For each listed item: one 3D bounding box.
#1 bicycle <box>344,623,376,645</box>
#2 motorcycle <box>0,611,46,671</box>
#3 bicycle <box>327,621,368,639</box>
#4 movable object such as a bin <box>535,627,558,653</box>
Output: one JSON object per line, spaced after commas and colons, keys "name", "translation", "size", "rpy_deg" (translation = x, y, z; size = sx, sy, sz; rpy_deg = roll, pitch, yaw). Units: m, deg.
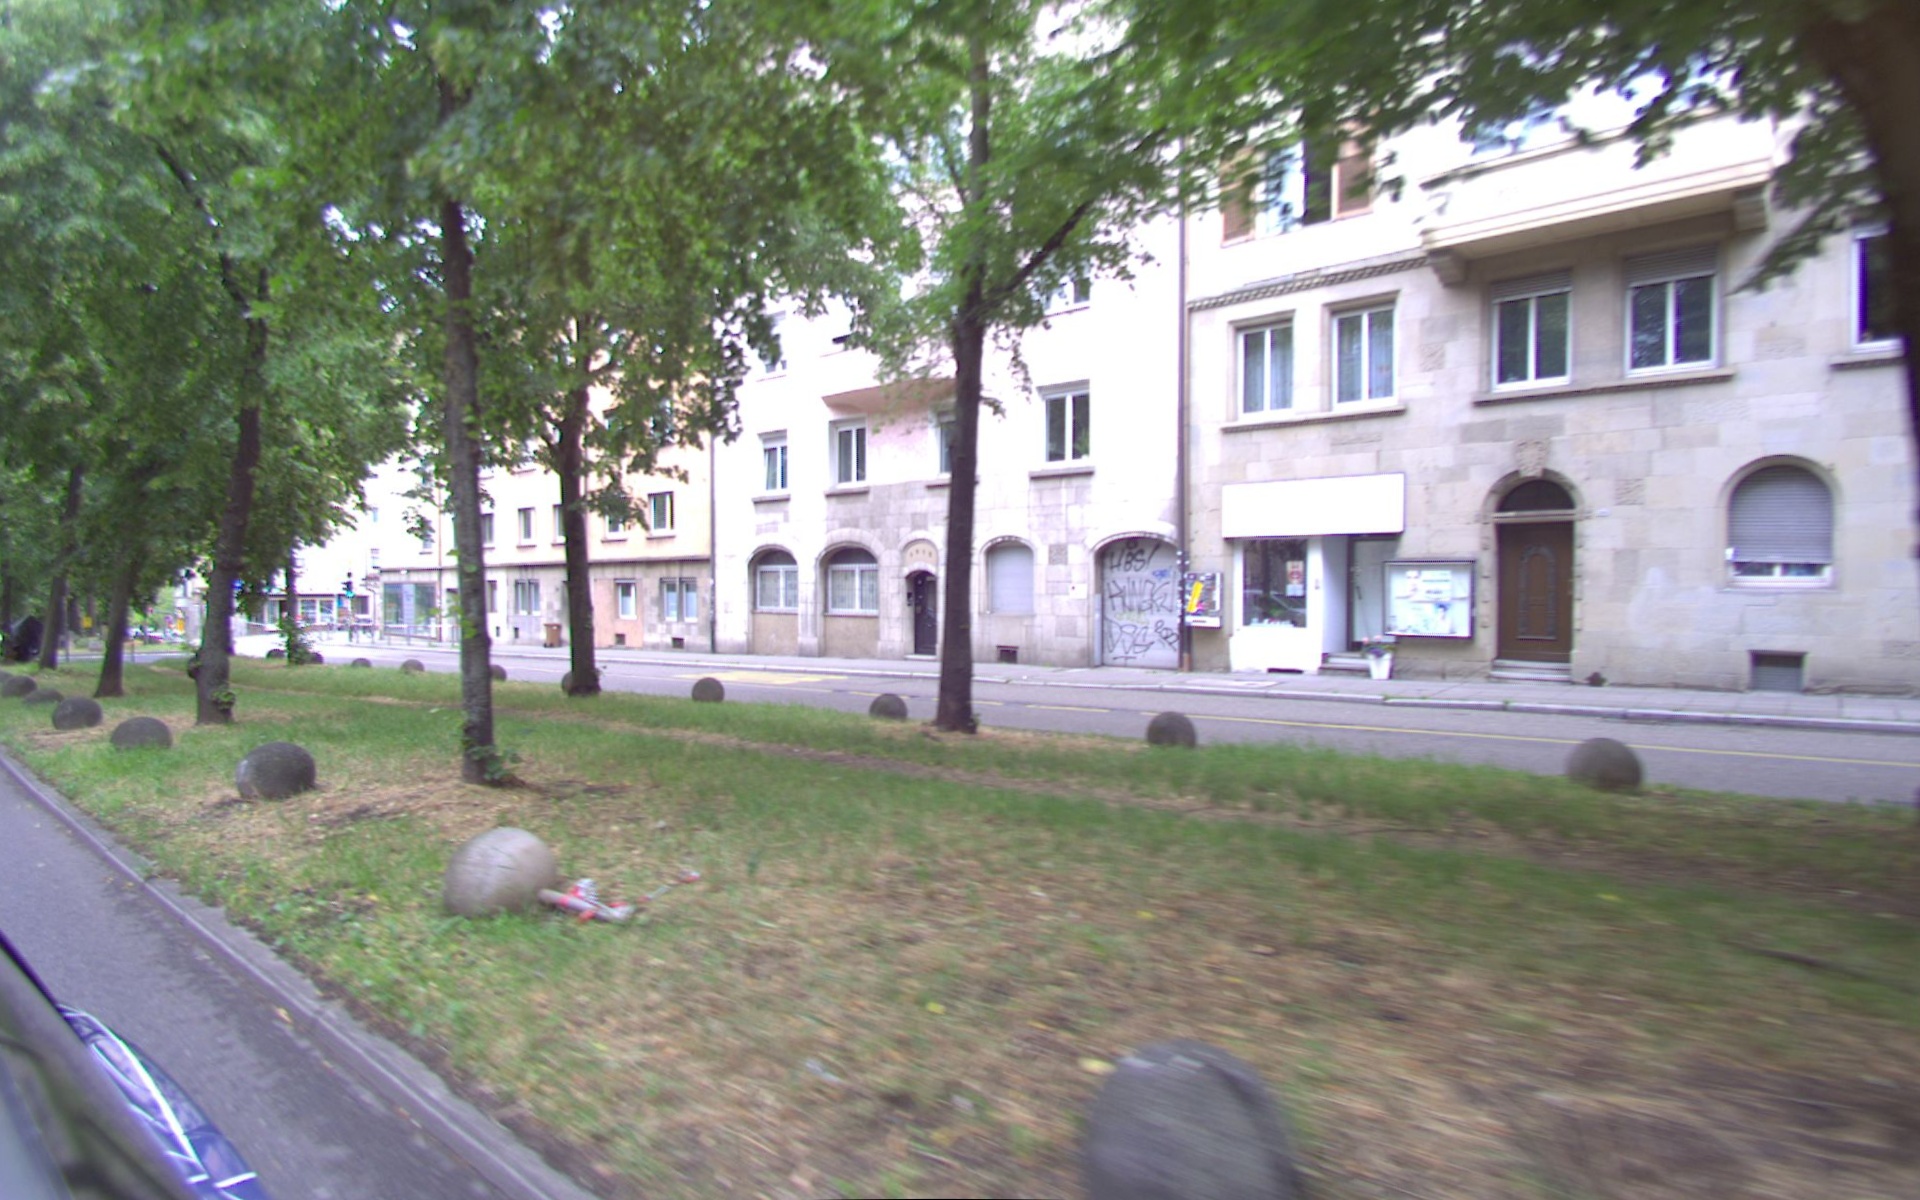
{"name": "bicycle", "translation": [-34.530, 1.970, 58.255], "size": [2.051, 1.158, 0.676], "rpy_deg": [-4, 0, 32]}
{"name": "motorcycle", "translation": [-25.993, 1.162, 28.013], "size": [2.624, 1.542, 0.814], "rpy_deg": [-5, -5, 44]}
{"name": "bicycle", "translation": [-41.245, 2.012, 68.165], "size": [2.310, 1.108, 0.777], "rpy_deg": [-2, 0, -28]}
{"name": "movable object such as a bin", "translation": [-15.259, 1.482, 37.362], "size": [0.779, 0.934, 0.506], "rpy_deg": [-2, 0, 43]}
